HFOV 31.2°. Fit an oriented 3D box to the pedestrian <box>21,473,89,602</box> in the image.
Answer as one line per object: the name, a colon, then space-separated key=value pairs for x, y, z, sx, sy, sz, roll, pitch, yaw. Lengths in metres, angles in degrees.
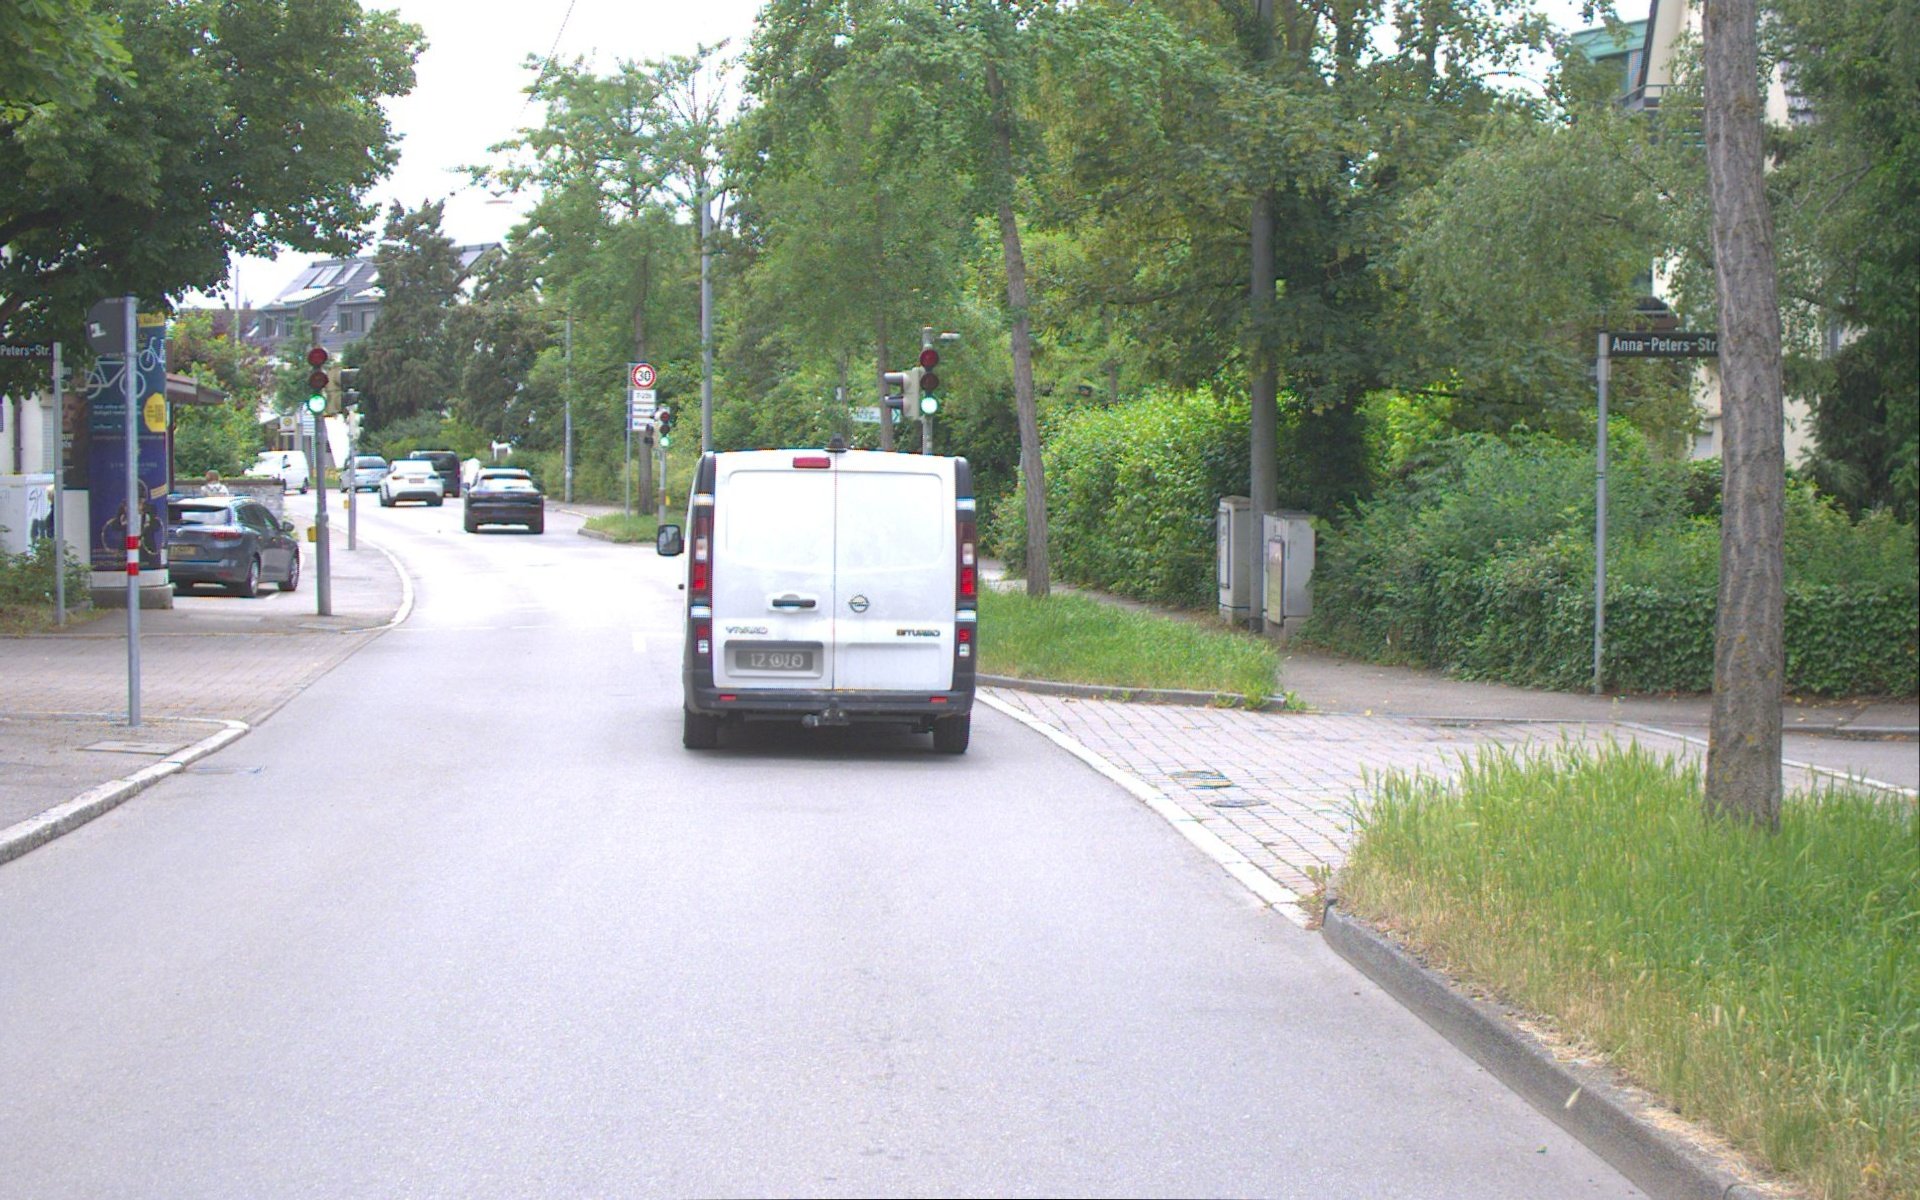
pedestrian: x=-11.587 y=-0.806 z=44.051 sx=0.697 sy=1.610 sz=0.715 roll=1 pitch=3 yaw=-2

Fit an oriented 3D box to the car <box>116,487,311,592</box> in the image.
car: x=-10.993 y=-0.908 z=50.899 sx=1.779 sy=1.436 sz=4.525 roll=2 pitch=1 yaw=1

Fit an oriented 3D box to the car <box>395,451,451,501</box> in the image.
car: x=-19.012 y=-4.402 z=121.617 sx=1.824 sy=1.722 sz=4.002 roll=0 pitch=2 yaw=-11

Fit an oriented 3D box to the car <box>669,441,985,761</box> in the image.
car: x=-1.002 y=-0.068 z=23.411 sx=1.929 sy=1.957 sz=4.403 roll=1 pitch=2 yaw=-5

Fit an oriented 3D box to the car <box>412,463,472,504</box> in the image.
car: x=-20.867 y=-4.697 z=138.346 sx=1.893 sy=1.605 sz=4.502 roll=0 pitch=2 yaw=-14

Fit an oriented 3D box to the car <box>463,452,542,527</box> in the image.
car: x=-11.668 y=-2.819 z=87.462 sx=1.896 sy=1.853 sz=4.406 roll=0 pitch=2 yaw=-9

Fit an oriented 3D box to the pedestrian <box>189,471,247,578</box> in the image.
pedestrian: x=-12.433 y=-1.266 z=57.595 sx=0.882 sy=1.744 sz=0.964 roll=2 pitch=2 yaw=-13
